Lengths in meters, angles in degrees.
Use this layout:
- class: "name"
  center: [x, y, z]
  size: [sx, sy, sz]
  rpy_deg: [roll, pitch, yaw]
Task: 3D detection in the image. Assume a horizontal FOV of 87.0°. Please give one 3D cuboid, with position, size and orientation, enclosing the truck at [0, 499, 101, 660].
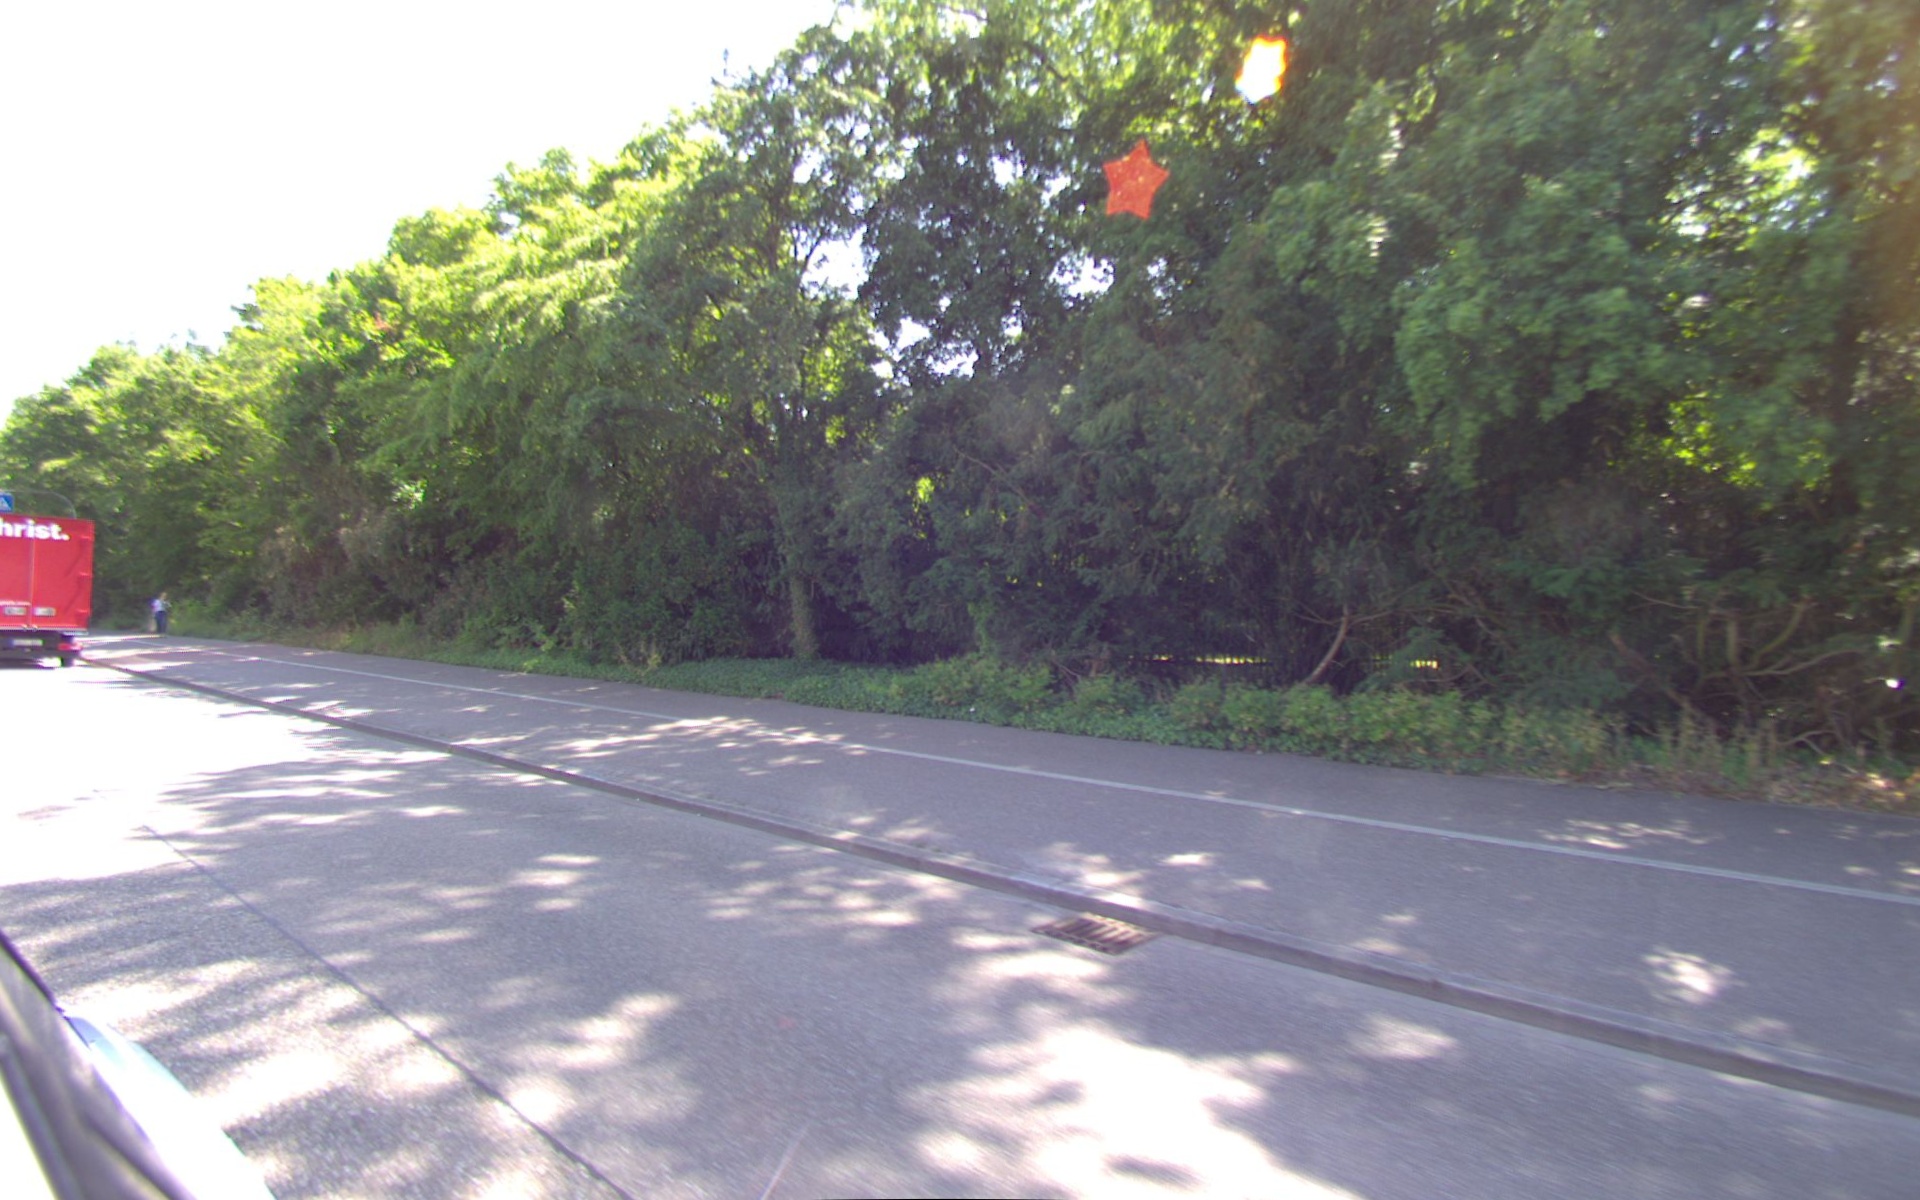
- class: "truck"
  center: [-23.006, -0.484, 24.521]
  size: [7.159, 3.466, 2.297]
  rpy_deg: [1, -1, 42]

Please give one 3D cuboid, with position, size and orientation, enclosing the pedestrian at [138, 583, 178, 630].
- class: "pedestrian"
  center: [-28.559, 0.228, 36.040]
  size: [0.885, 1.624, 0.923]
  rpy_deg: [2, 2, 40]
